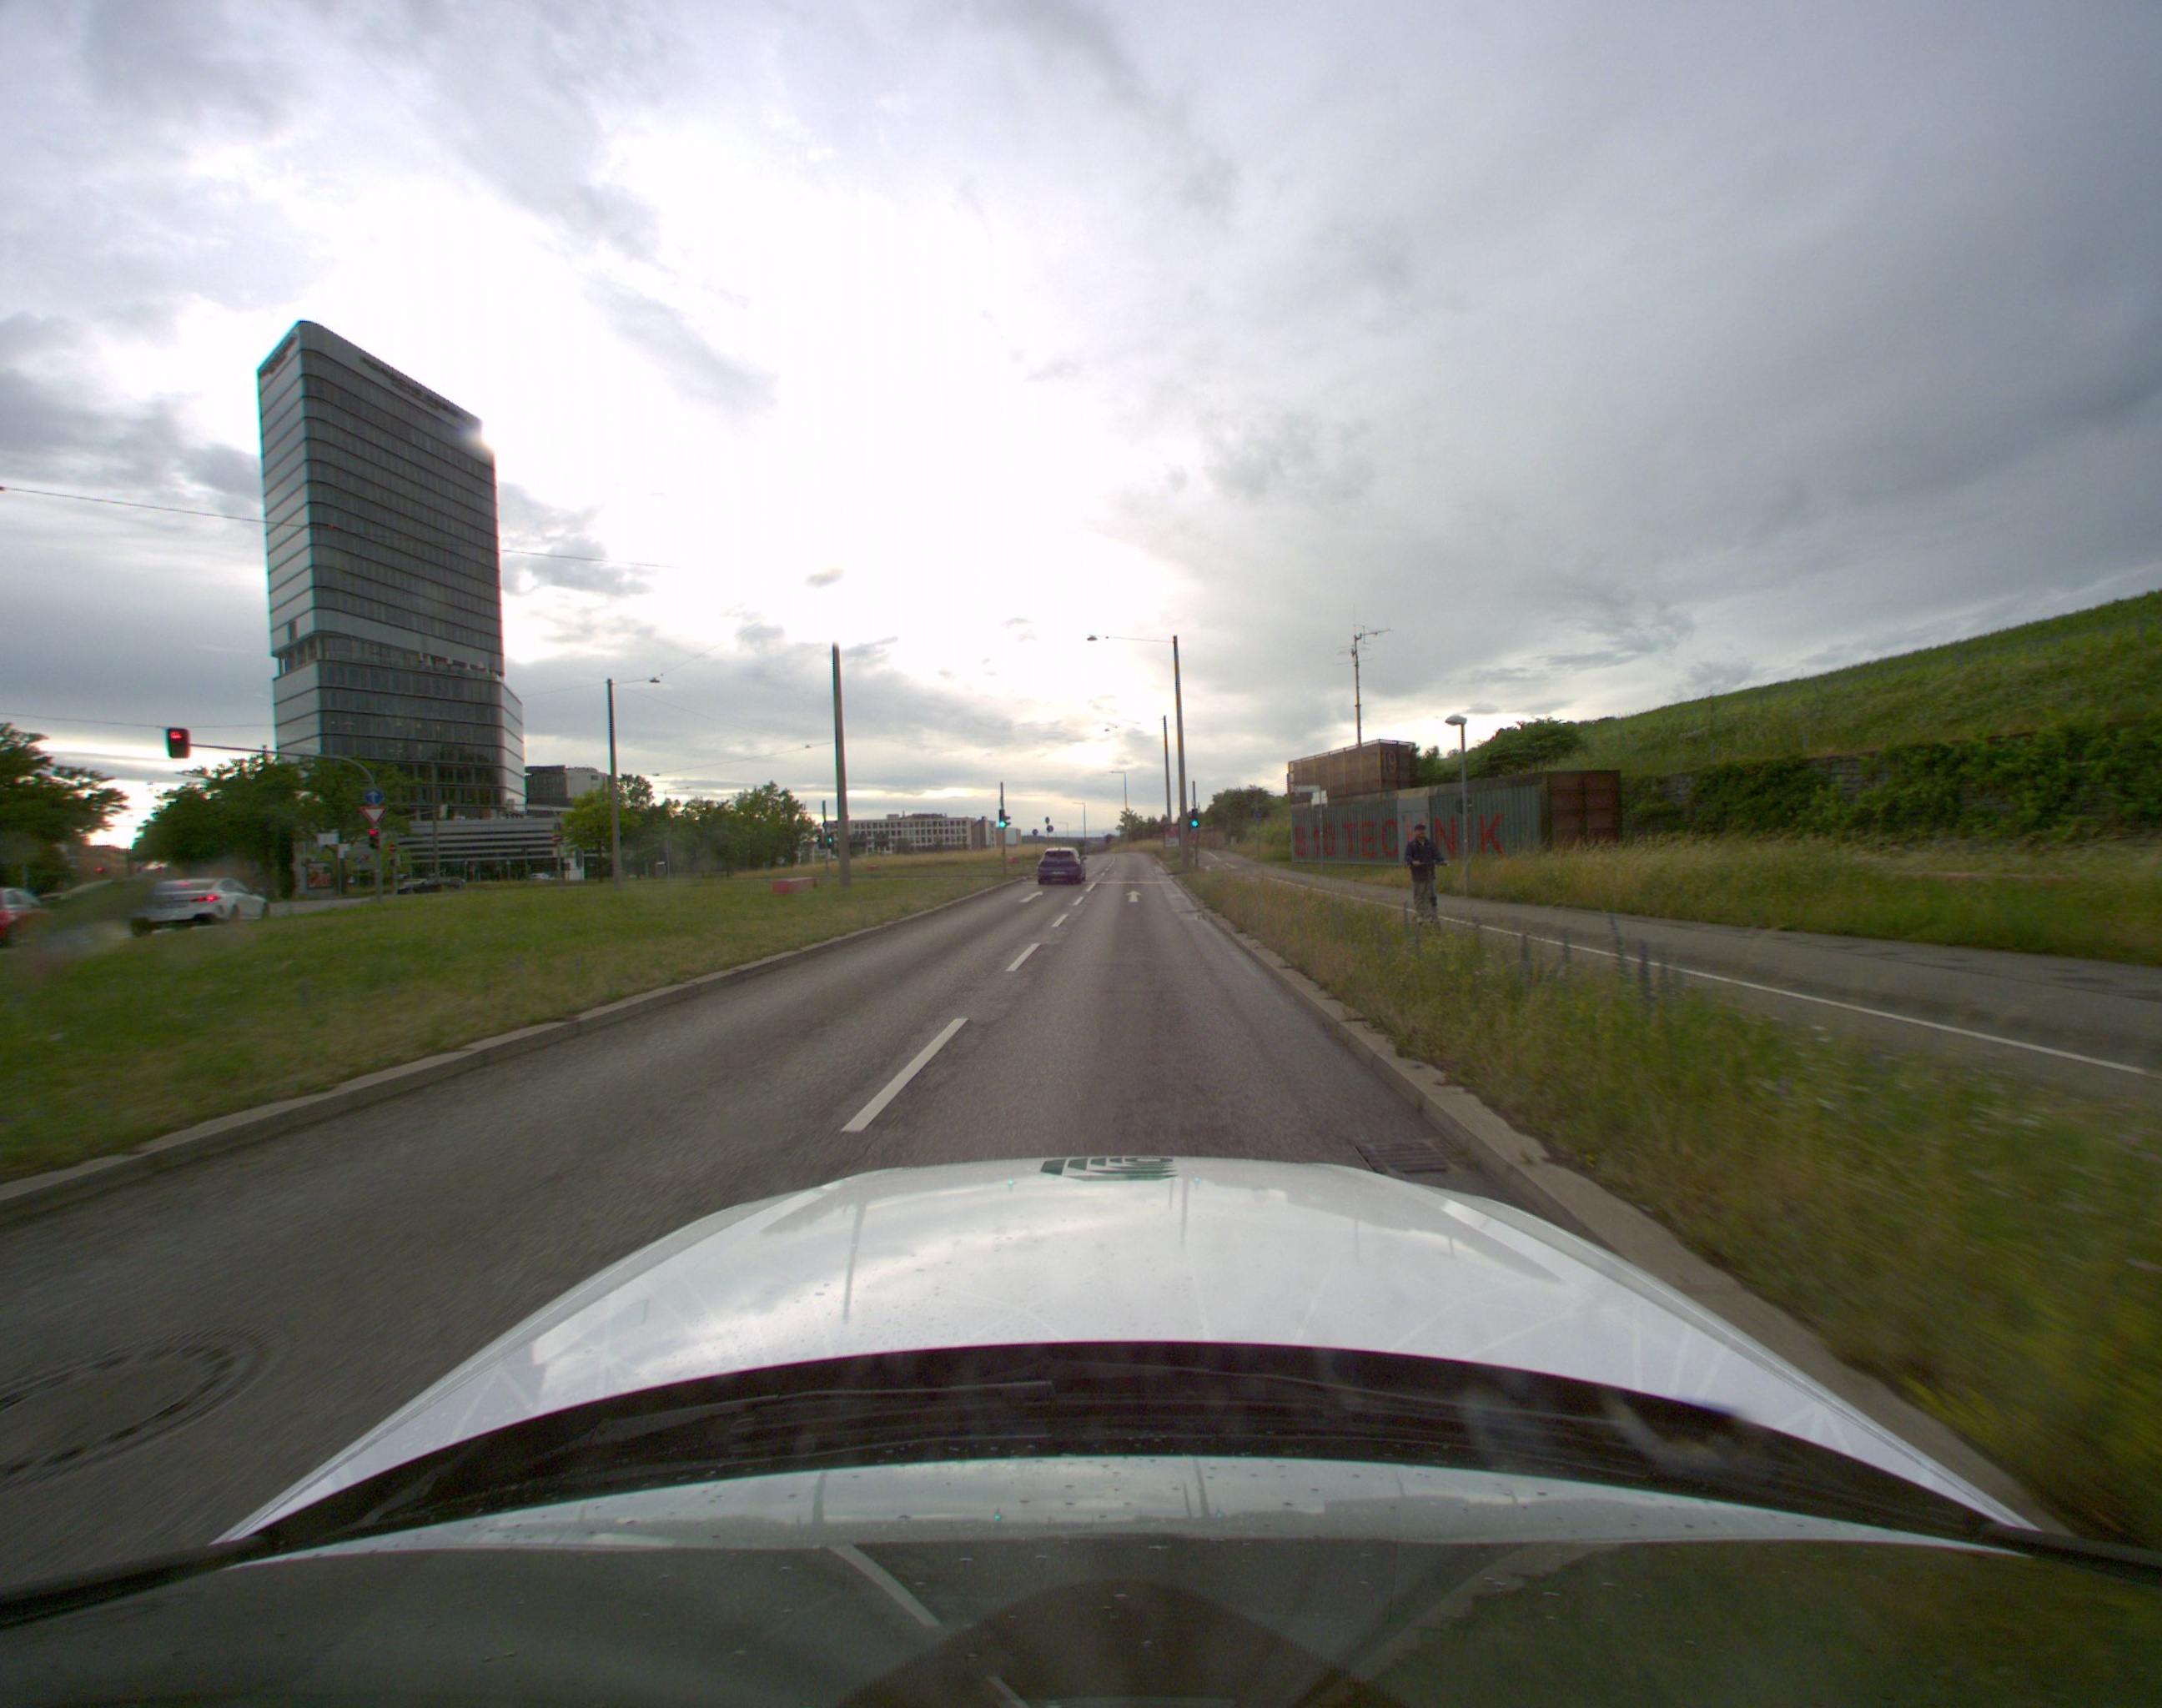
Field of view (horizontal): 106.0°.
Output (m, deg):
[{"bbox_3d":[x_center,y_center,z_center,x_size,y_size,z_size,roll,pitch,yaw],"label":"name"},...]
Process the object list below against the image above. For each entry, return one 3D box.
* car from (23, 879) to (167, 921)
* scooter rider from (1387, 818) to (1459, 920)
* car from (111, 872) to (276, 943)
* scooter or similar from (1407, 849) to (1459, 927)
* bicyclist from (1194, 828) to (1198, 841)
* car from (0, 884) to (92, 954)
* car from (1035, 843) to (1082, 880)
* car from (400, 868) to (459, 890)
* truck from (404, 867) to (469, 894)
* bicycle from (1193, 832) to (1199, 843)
[{"bbox_3d":[-44.996,2.063,37.287,1.730,1.617,3.752,0,2,10],"label":"car"},{"bbox_3d":[5.722,0.243,13.671,0.803,1.628,0.829,-3,0,2],"label":"scooter rider"},{"bbox_3d":[-24.028,1.374,22.271,1.932,1.643,4.346,-2,-1,-32],"label":"car"},{"bbox_3d":[5.725,0.532,13.273,0.399,1.196,1.115,1,1,3],"label":"scooter or similar"},{"bbox_3d":[10.739,-1.823,76.105,0.264,1.195,0.316,-1,1,5],"label":"bicyclist"},{"bbox_3d":[-27.013,1.622,20.315,1.826,1.623,3.958,-3,0,-33],"label":"car"},{"bbox_3d":[-0.894,0.319,34.114,1.832,1.393,3.999,-1,-1,0],"label":"car"},{"bbox_3d":[-52.294,1.997,65.429,3.591,1.561,1.627,-2,1,-42],"label":"car"},{"bbox_3d":[-54.264,2.196,68.612,4.024,2.013,1.975,-3,1,-45],"label":"truck"},{"bbox_3d":[10.763,-1.534,76.125,0.548,1.068,0.616,-1,1,5],"label":"bicycle"}]
